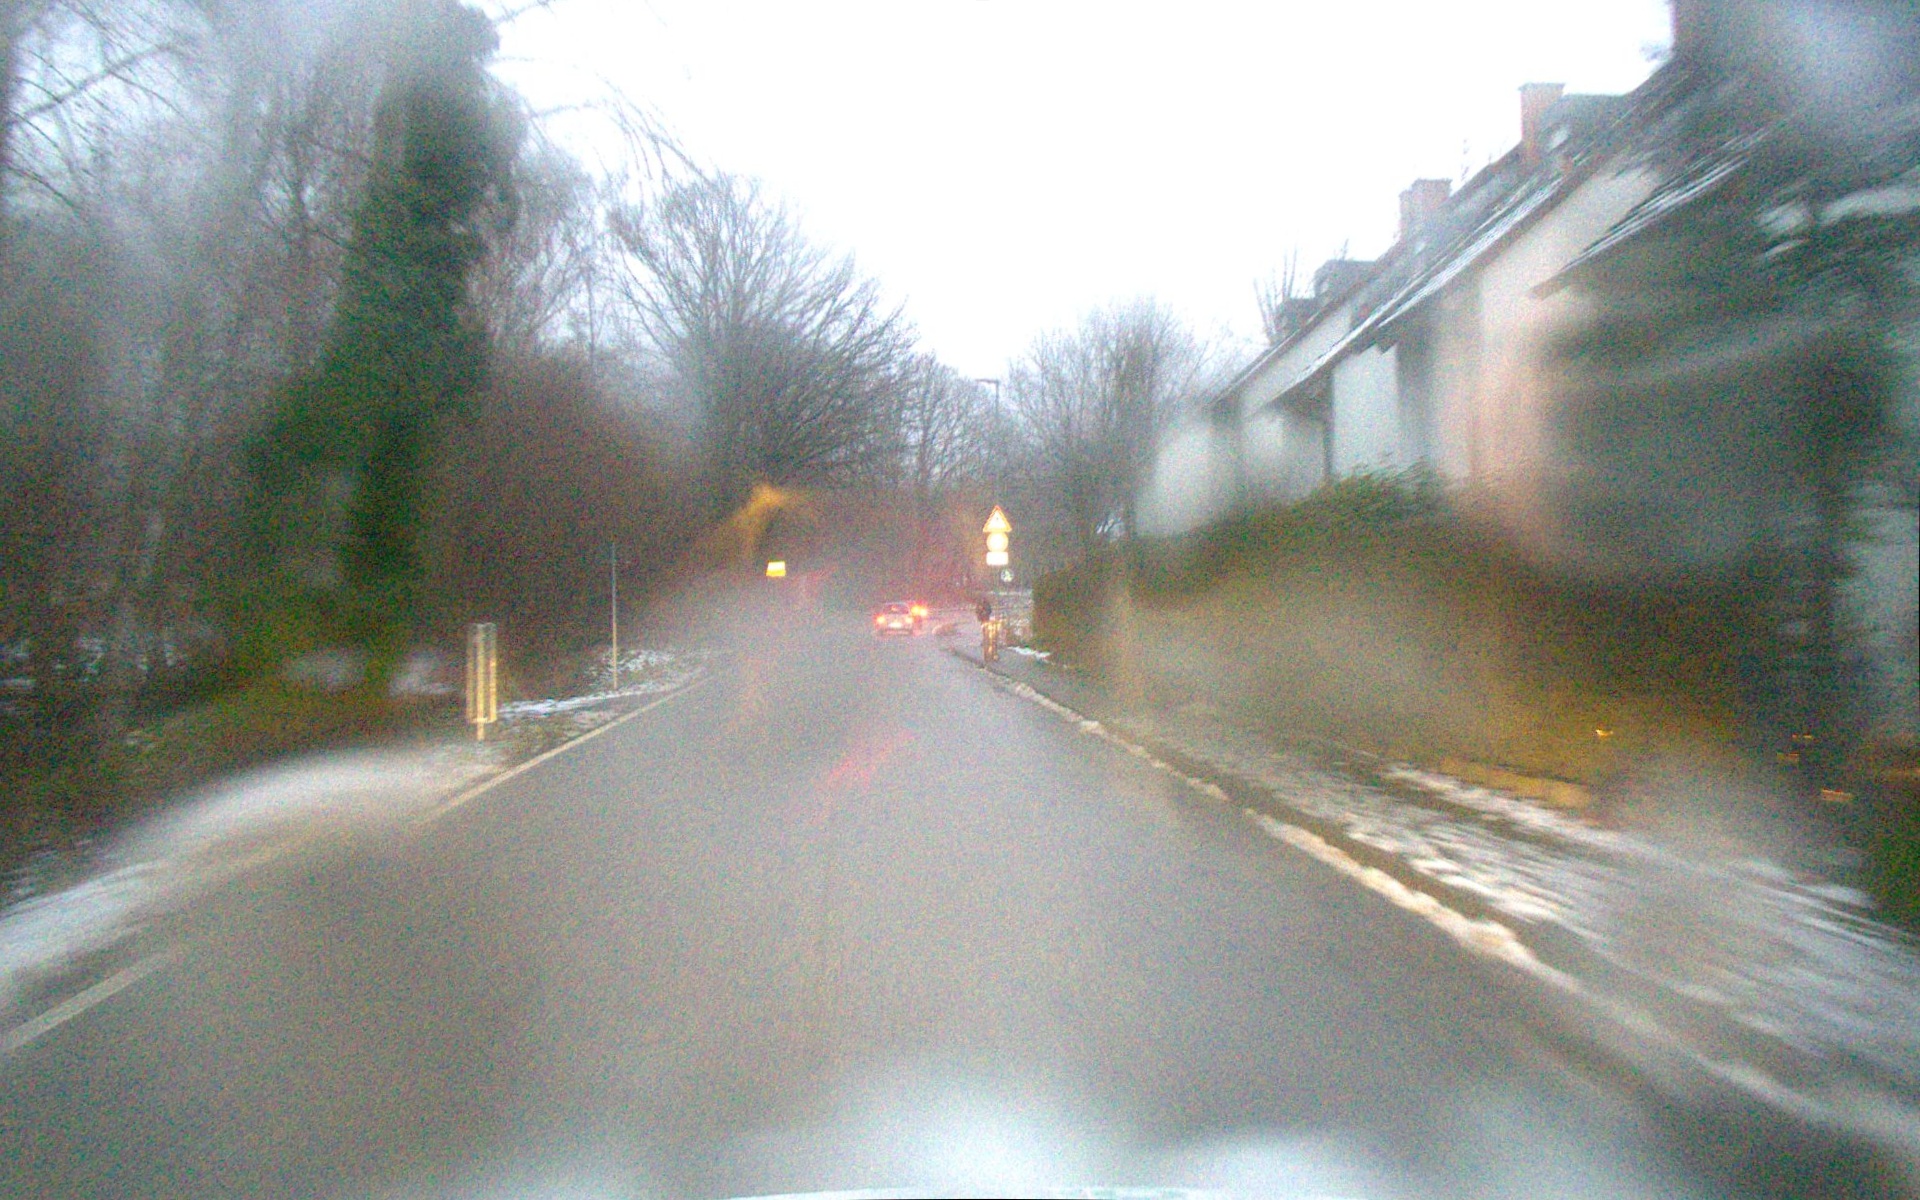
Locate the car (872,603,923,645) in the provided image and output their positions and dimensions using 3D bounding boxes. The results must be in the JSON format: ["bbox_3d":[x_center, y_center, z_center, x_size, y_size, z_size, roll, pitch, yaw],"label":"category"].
[{"bbox_3d":[-2.754,1.046,73.909,1.892,1.812,4.002,-1,0,3],"label":"car"}]
